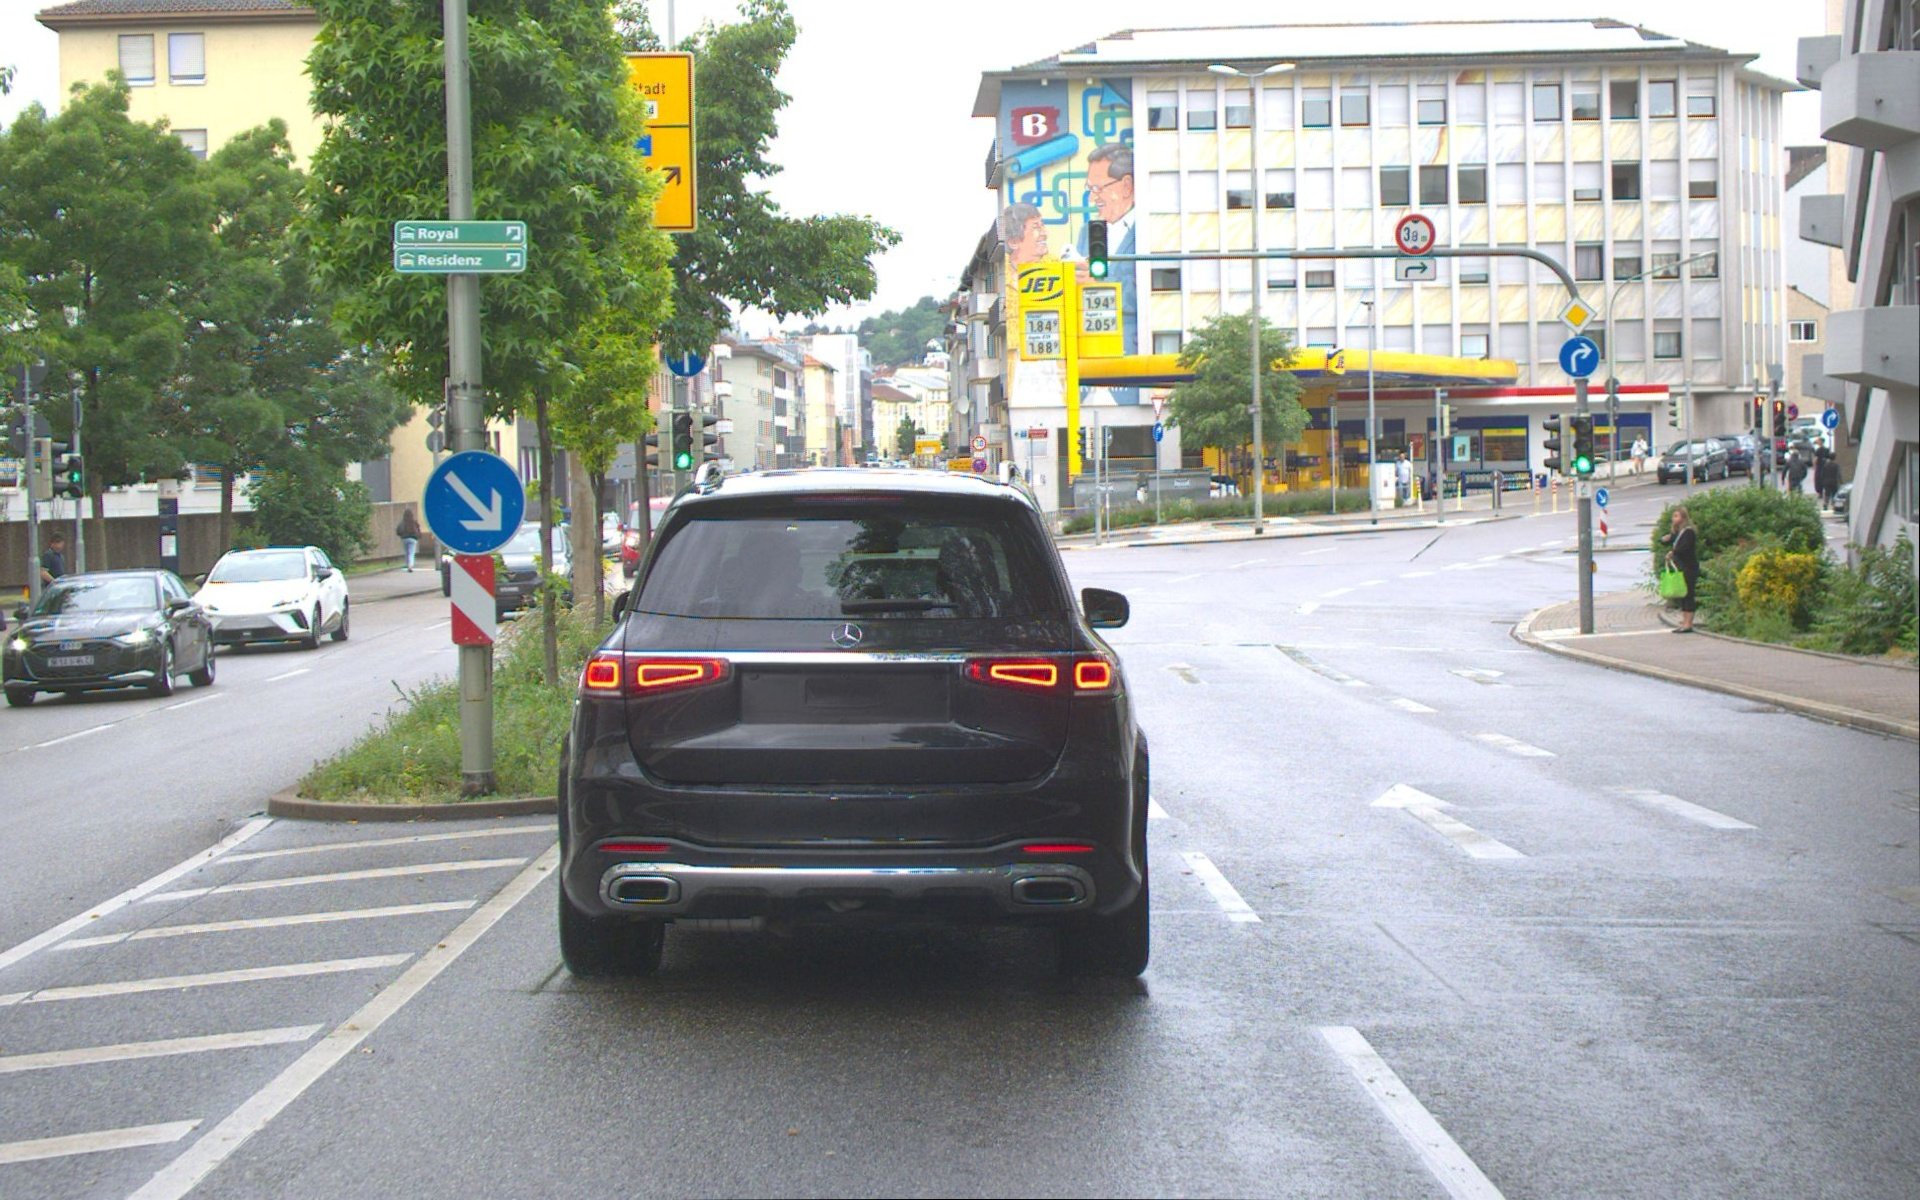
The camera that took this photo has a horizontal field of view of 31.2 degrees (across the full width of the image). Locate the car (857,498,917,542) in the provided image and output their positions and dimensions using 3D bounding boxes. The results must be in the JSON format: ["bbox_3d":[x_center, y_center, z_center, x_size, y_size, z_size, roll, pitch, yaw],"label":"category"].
[{"bbox_3d":[-2.691,-2.955,127.407,1.993,1.542,4.189,1,0,2],"label":"car"}]

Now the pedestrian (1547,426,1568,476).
[{"bbox_3d":[20.643,-5.136,118.836,0.526,1.721,0.688,0,2,27],"label":"pedestrian"}]

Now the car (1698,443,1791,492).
[{"bbox_3d":[28.472,-4.815,124.729,1.997,1.700,3.993,-1,2,33],"label":"car"}]

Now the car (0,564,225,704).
[{"bbox_3d":[-9.552,0.343,38.840,1.732,1.389,4.200,-3,1,-3],"label":"car"}]

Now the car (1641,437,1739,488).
[{"bbox_3d":[25.595,-4.830,120.464,1.997,1.700,3.993,-1,2,33],"label":"car"}]

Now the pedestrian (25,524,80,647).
[{"bbox_3d":[-13.088,-0.217,49.583,0.687,1.751,0.718,-1,2,-11],"label":"pedestrian"}]

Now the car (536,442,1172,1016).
[{"bbox_3d":[-0.356,0.398,12.902,1.993,1.794,4.000,1,0,-1],"label":"car"}]

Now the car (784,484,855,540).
[{"bbox_3d":[-4.260,-2.659,104.734,1.993,1.609,4.190,1,0,0],"label":"car"}]

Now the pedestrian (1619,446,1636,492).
[{"bbox_3d":[23.737,-4.660,122.281,0.484,1.635,0.438,1,0,28],"label":"pedestrian"}]

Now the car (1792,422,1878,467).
[{"bbox_3d":[34.116,-6.067,134.008,1.997,1.700,3.993,-1,2,33],"label":"car"}]

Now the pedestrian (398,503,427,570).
[{"bbox_3d":[-14.317,-1.657,89.901,0.648,1.721,0.629,-2,2,-4],"label":"pedestrian"}]

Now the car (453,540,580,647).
[{"bbox_3d":[-7.449,-0.143,58.038,1.732,1.620,4.232,-3,1,-3],"label":"car"}]

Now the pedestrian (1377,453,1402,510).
[{"bbox_3d":[12.993,-3.583,104.042,0.526,1.721,0.688,0,2,27],"label":"pedestrian"}]

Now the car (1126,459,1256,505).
[{"bbox_3d":[7.407,-3.782,110.440,1.732,1.371,3.998,-3,2,-44],"label":"car"}]

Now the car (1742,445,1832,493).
[{"bbox_3d":[31.026,-4.936,128.940,1.997,1.700,3.993,-1,2,33],"label":"car"}]

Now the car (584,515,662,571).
[{"bbox_3d":[-9.765,-1.665,99.888,1.846,1.424,4.435,-3,2,-1],"label":"car"}]

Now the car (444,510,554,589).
[{"bbox_3d":[-10.109,-1.129,75.695,1.888,1.581,4.537,-3,1,-2],"label":"car"}]

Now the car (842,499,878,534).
[{"bbox_3d":[-5.932,-4.938,204.395,1.993,2.007,4.000,1,0,0],"label":"car"}]

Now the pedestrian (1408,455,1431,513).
[{"bbox_3d":[13.654,-3.438,102.105,0.572,1.691,0.631,1,0,1],"label":"pedestrian"}]

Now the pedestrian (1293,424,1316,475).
[{"bbox_3d":[11.816,-5.160,117.943,0.527,1.721,0.688,0,2,29],"label":"pedestrian"}]

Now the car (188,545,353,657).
[{"bbox_3d":[-10.152,-0.019,50.907,1.732,1.464,4.232,-3,1,-3],"label":"car"}]

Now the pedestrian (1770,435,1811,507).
[{"bbox_3d":[24.684,-3.826,102.165,0.854,2.121,0.948,-2,2,-6],"label":"pedestrian"}]

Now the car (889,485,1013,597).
[{"bbox_3d":[-0.165,-0.964,57.618,1.993,1.794,4.000,1,0,-1],"label":"car"}]

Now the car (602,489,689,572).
[{"bbox_3d":[-7.532,-1.678,82.685,1.792,1.847,4.793,-3,1,-3],"label":"car"}]

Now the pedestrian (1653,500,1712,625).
[{"bbox_3d":[9.933,-0.517,47.286,0.646,1.704,0.470,0,0,36],"label":"pedestrian"}]

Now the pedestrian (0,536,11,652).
[{"bbox_3d":[-14.015,-0.079,49.045,0.689,1.650,0.613,-3,2,-35],"label":"pedestrian"}]
